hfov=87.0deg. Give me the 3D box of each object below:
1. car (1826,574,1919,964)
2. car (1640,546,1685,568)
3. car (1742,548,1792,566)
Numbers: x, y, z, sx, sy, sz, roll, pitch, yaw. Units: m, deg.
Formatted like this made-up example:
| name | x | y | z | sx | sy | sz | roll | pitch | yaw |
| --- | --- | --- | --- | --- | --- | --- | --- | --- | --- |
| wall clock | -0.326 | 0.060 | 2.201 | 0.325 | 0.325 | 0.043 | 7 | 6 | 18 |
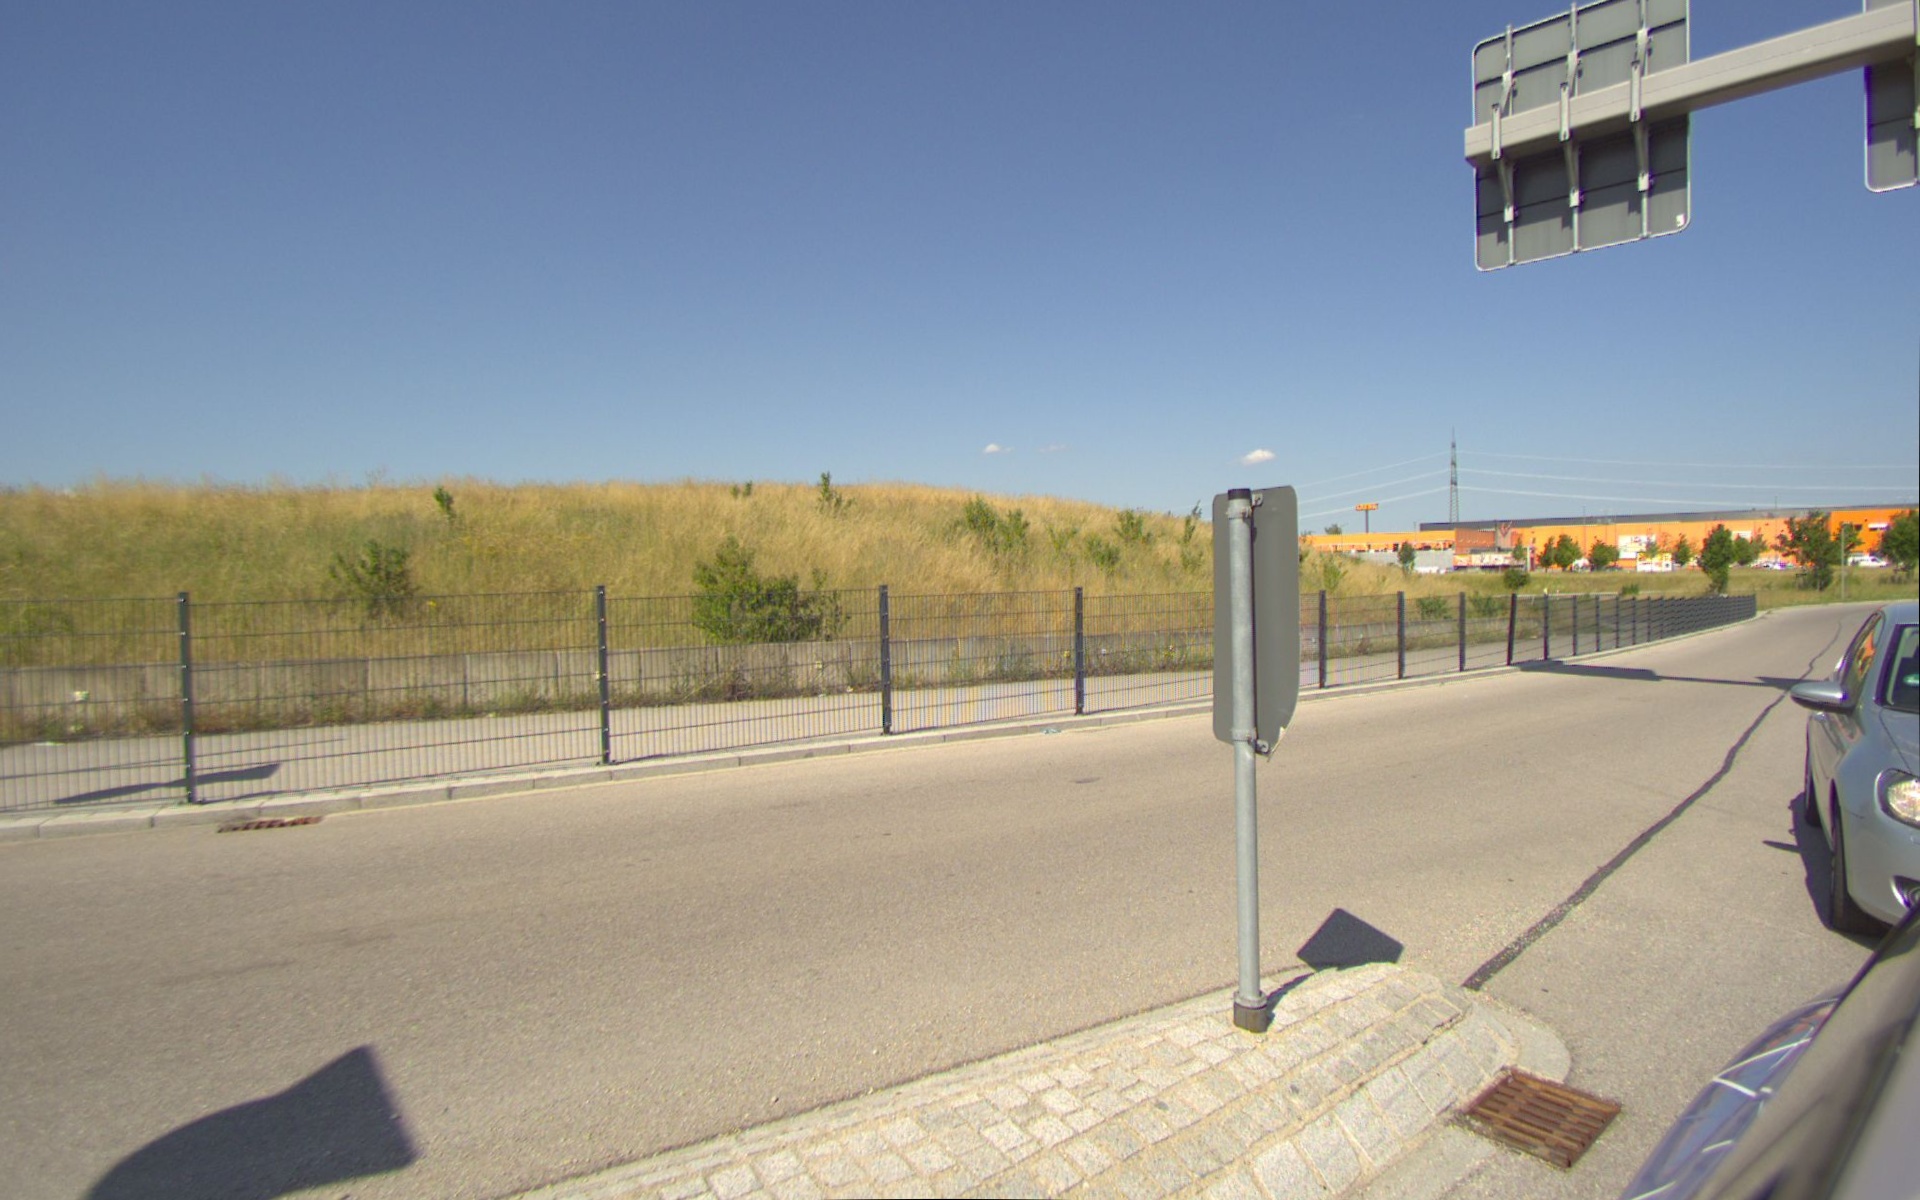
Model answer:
| name | x | y | z | sx | sy | sz | roll | pitch | yaw |
| --- | --- | --- | --- | --- | --- | --- | --- | --- | --- |
| car | 5.408 | 0.640 | 4.936 | 1.740 | 1.486 | 3.903 | 3 | 3 | 41 |
| car | 87.865 | -5.386 | 126.594 | 4.611 | 2.580 | 1.973 | -1 | 1 | 38 |
| car | 95.590 | -5.057 | 119.924 | 4.611 | 2.039 | 1.973 | -1 | 1 | 38 |
